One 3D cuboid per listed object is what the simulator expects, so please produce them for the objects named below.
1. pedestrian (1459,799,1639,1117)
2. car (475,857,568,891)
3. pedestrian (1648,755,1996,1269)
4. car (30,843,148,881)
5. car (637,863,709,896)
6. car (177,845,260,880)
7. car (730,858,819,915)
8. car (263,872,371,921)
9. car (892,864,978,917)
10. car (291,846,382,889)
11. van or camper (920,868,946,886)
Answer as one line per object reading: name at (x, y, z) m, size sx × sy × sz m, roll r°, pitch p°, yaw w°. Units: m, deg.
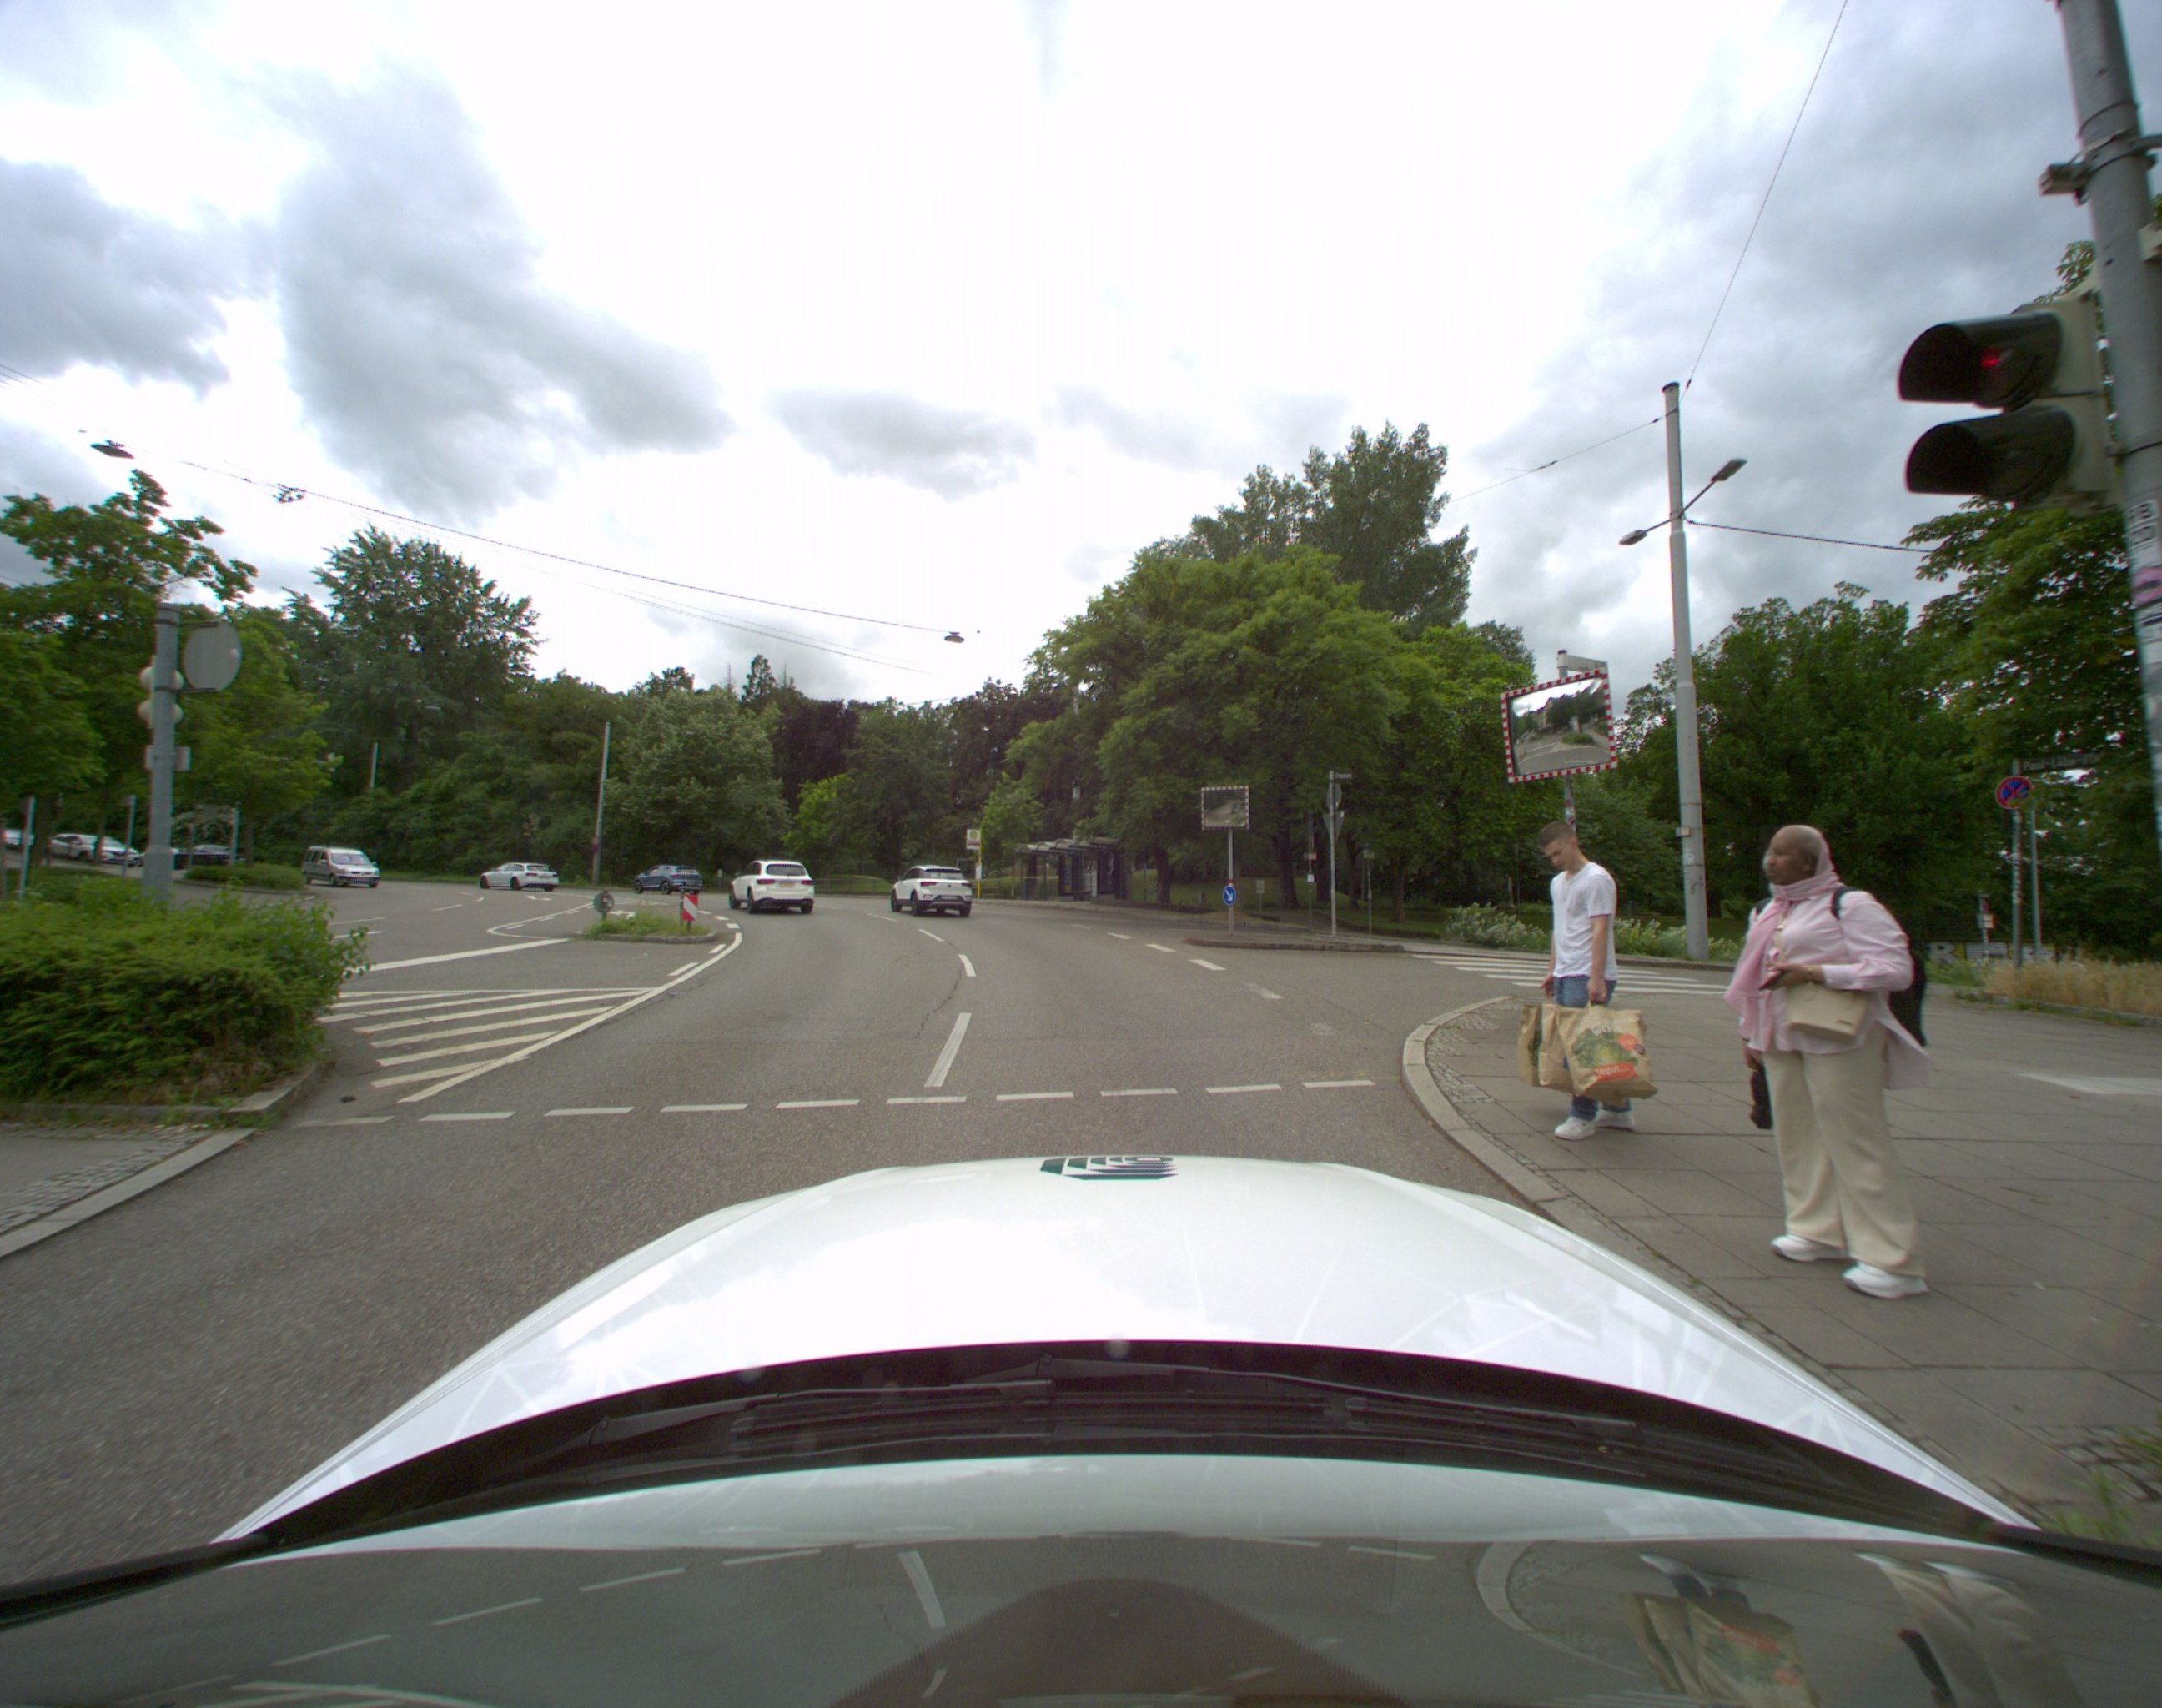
pedestrian at (2.706, 0.574, 4.787) m, size 0.611 × 1.712 × 0.728 m, roll -2°, pitch -2°, yaw 6°
car at (-29.363, 1.067, 42.738) m, size 4.253 × 1.519 × 2.268 m, roll 1°, pitch -5°, yaw 29°
pedestrian at (2.747, 0.538, 3.117) m, size 0.611 × 1.712 × 0.728 m, roll -2°, pitch -2°, yaw 6°
car at (-51.901, 0.435, 42.628) m, size 4.711 × 1.792 × 1.908 m, roll 2°, pitch -2°, yaw 13°
car at (-21.667, 1.343, 43.238) m, size 3.908 × 1.632 × 1.878 m, roll 0°, pitch -3°, yaw 38°
car at (-52.817, 0.507, 49.885) m, size 3.954 × 2.014 × 2.010 m, roll 1°, pitch -1°, yaw 20°
car at (-9.889, 0.984, 26.098) m, size 1.889 × 1.652 × 4.298 m, roll 2°, pitch -1°, yaw -31°
car at (-29.212, 1.594, 31.112) m, size 4.319 × 1.654 × 1.913 m, roll 1°, pitch -3°, yaw 32°
car at (-4.767, 1.131, 26.259) m, size 1.873 × 1.556 × 3.864 m, roll 2°, pitch -1°, yaw -23°
car at (-34.323, 0.622, 37.520) m, size 3.987 × 1.831 × 1.929 m, roll 1°, pitch -3°, yaw 31°
van or camper at (-16.964, 2.631, 93.182) m, size 2.308 × 2.014 × 5.410 m, roll 3°, pitch -2°, yaw -16°
